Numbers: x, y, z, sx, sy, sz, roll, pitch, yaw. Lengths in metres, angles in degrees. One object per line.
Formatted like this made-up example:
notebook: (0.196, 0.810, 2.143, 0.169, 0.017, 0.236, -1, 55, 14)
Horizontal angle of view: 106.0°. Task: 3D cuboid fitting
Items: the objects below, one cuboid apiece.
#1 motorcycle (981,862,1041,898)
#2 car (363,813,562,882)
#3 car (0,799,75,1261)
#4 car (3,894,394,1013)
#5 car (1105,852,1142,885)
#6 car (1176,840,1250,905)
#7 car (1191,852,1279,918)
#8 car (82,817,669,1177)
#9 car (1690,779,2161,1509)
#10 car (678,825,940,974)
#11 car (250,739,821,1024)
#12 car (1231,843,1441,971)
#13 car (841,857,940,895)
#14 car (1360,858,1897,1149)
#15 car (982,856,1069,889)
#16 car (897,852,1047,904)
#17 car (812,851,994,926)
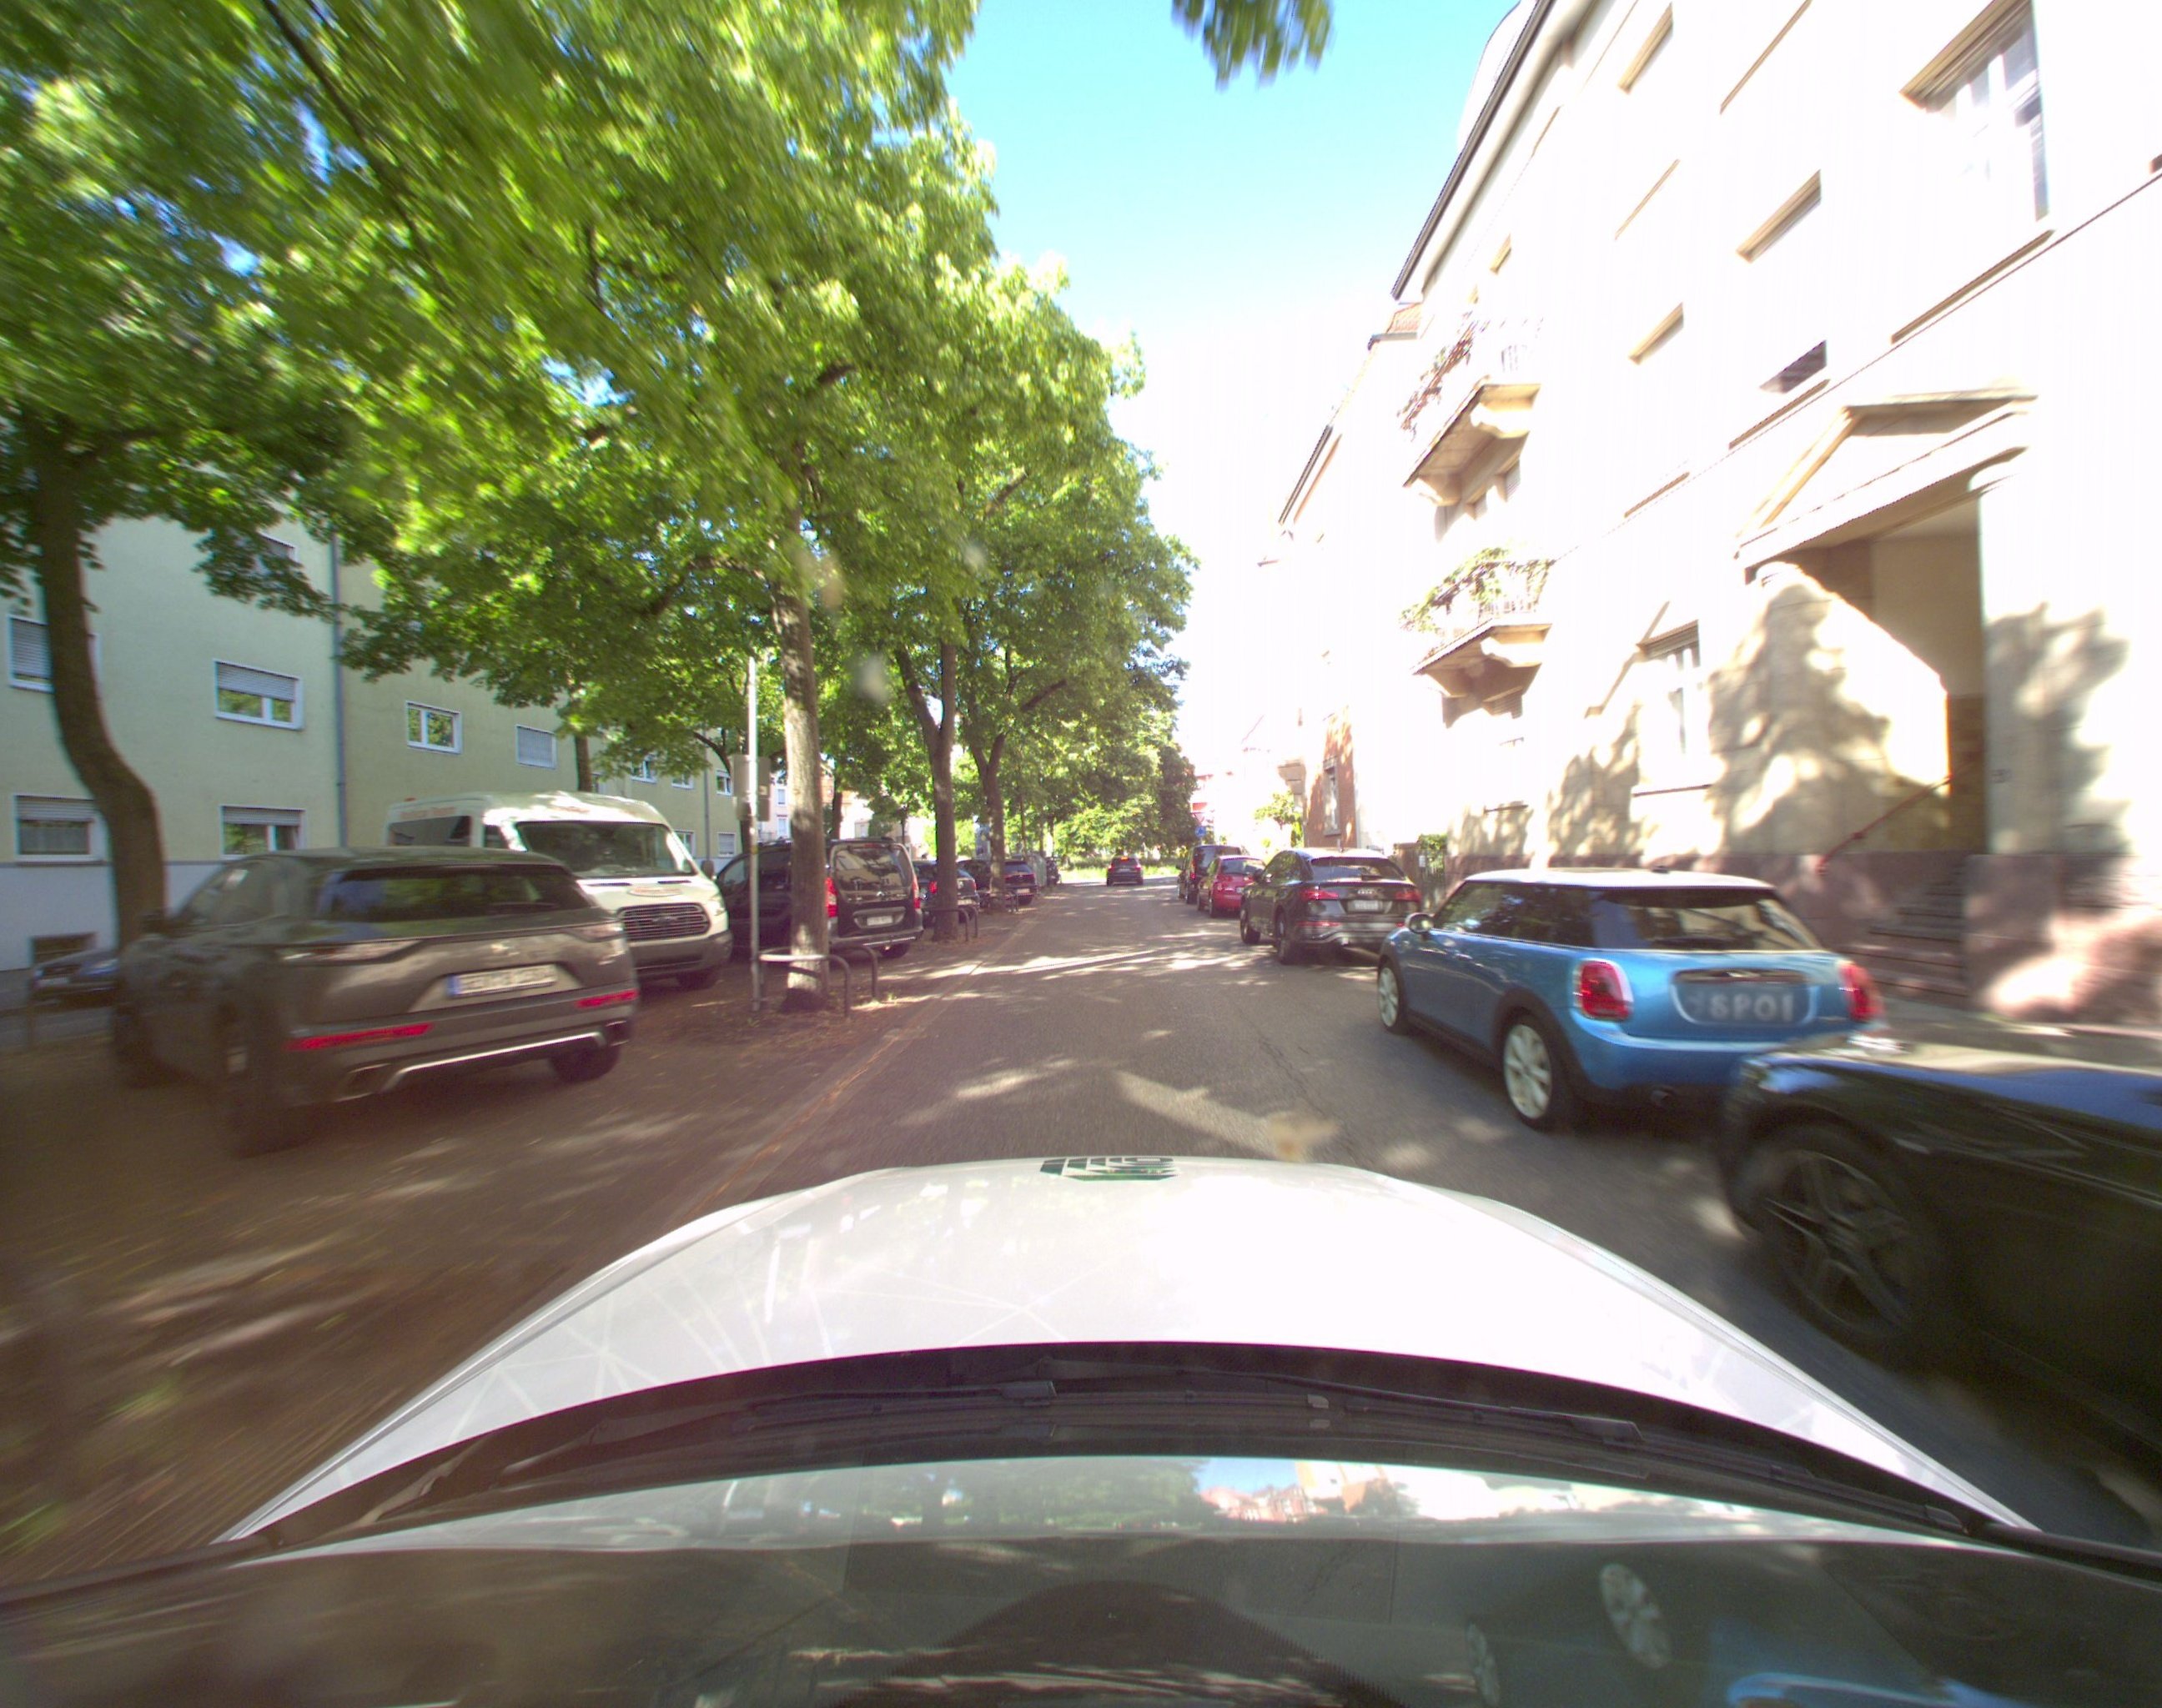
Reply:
motorcycle: (-2.398, 0.888, 27.934, 1.929, 1.171, 0.519, -2, -1, 6)
car: (-15.095, -0.163, 20.210, 1.768, 1.494, 4.144, -1, 0, -1)
car: (-6.445, 0.722, 3.523, 4.338, 1.777, 1.911, -2, -1, 29)
car: (-15.001, 1.590, 14.357, 1.765, 1.517, 4.593, 1, 0, 2)
car: (2.166, 0.701, 40.881, 1.707, 1.483, 4.148, -2, 0, 3)
car: (4.186, 0.564, 26.404, 1.794, 1.871, 4.275, 2, 0, 2)
car: (3.952, 0.754, 21.432, 1.639, 1.537, 4.002, 2, 0, 2)
car: (-4.870, 0.650, 5.487, 4.221, 1.641, 1.665, 0, -1, 30)
car: (3.141, 0.590, 0.939, 1.797, 1.563, 4.324, -2, 0, 3)
car: (-4.161, 0.588, 12.253, 3.801, 1.888, 1.856, -1, 0, 37)
car: (-6.599, 0.465, 9.975, 6.017, 2.623, 2.466, -5, -3, 17)
car: (3.703, 0.698, 12.736, 1.858, 1.643, 4.490, 0, 0, 0)
car: (-8.206, 0.944, 35.217, 3.761, 1.466, 1.651, -2, -1, 14)
car: (3.317, 0.744, 5.843, 1.583, 1.415, 3.635, 0, 0, 3)
car: (-2.669, 0.898, 38.837, 4.089, 1.482, 1.786, -2, -2, 42)
car: (-3.227, 0.704, 24.462, 4.061, 1.466, 1.873, 0, -2, 13)
car: (-4.014, 0.747, 18.445, 3.694, 1.582, 1.645, -1, -1, 21)
